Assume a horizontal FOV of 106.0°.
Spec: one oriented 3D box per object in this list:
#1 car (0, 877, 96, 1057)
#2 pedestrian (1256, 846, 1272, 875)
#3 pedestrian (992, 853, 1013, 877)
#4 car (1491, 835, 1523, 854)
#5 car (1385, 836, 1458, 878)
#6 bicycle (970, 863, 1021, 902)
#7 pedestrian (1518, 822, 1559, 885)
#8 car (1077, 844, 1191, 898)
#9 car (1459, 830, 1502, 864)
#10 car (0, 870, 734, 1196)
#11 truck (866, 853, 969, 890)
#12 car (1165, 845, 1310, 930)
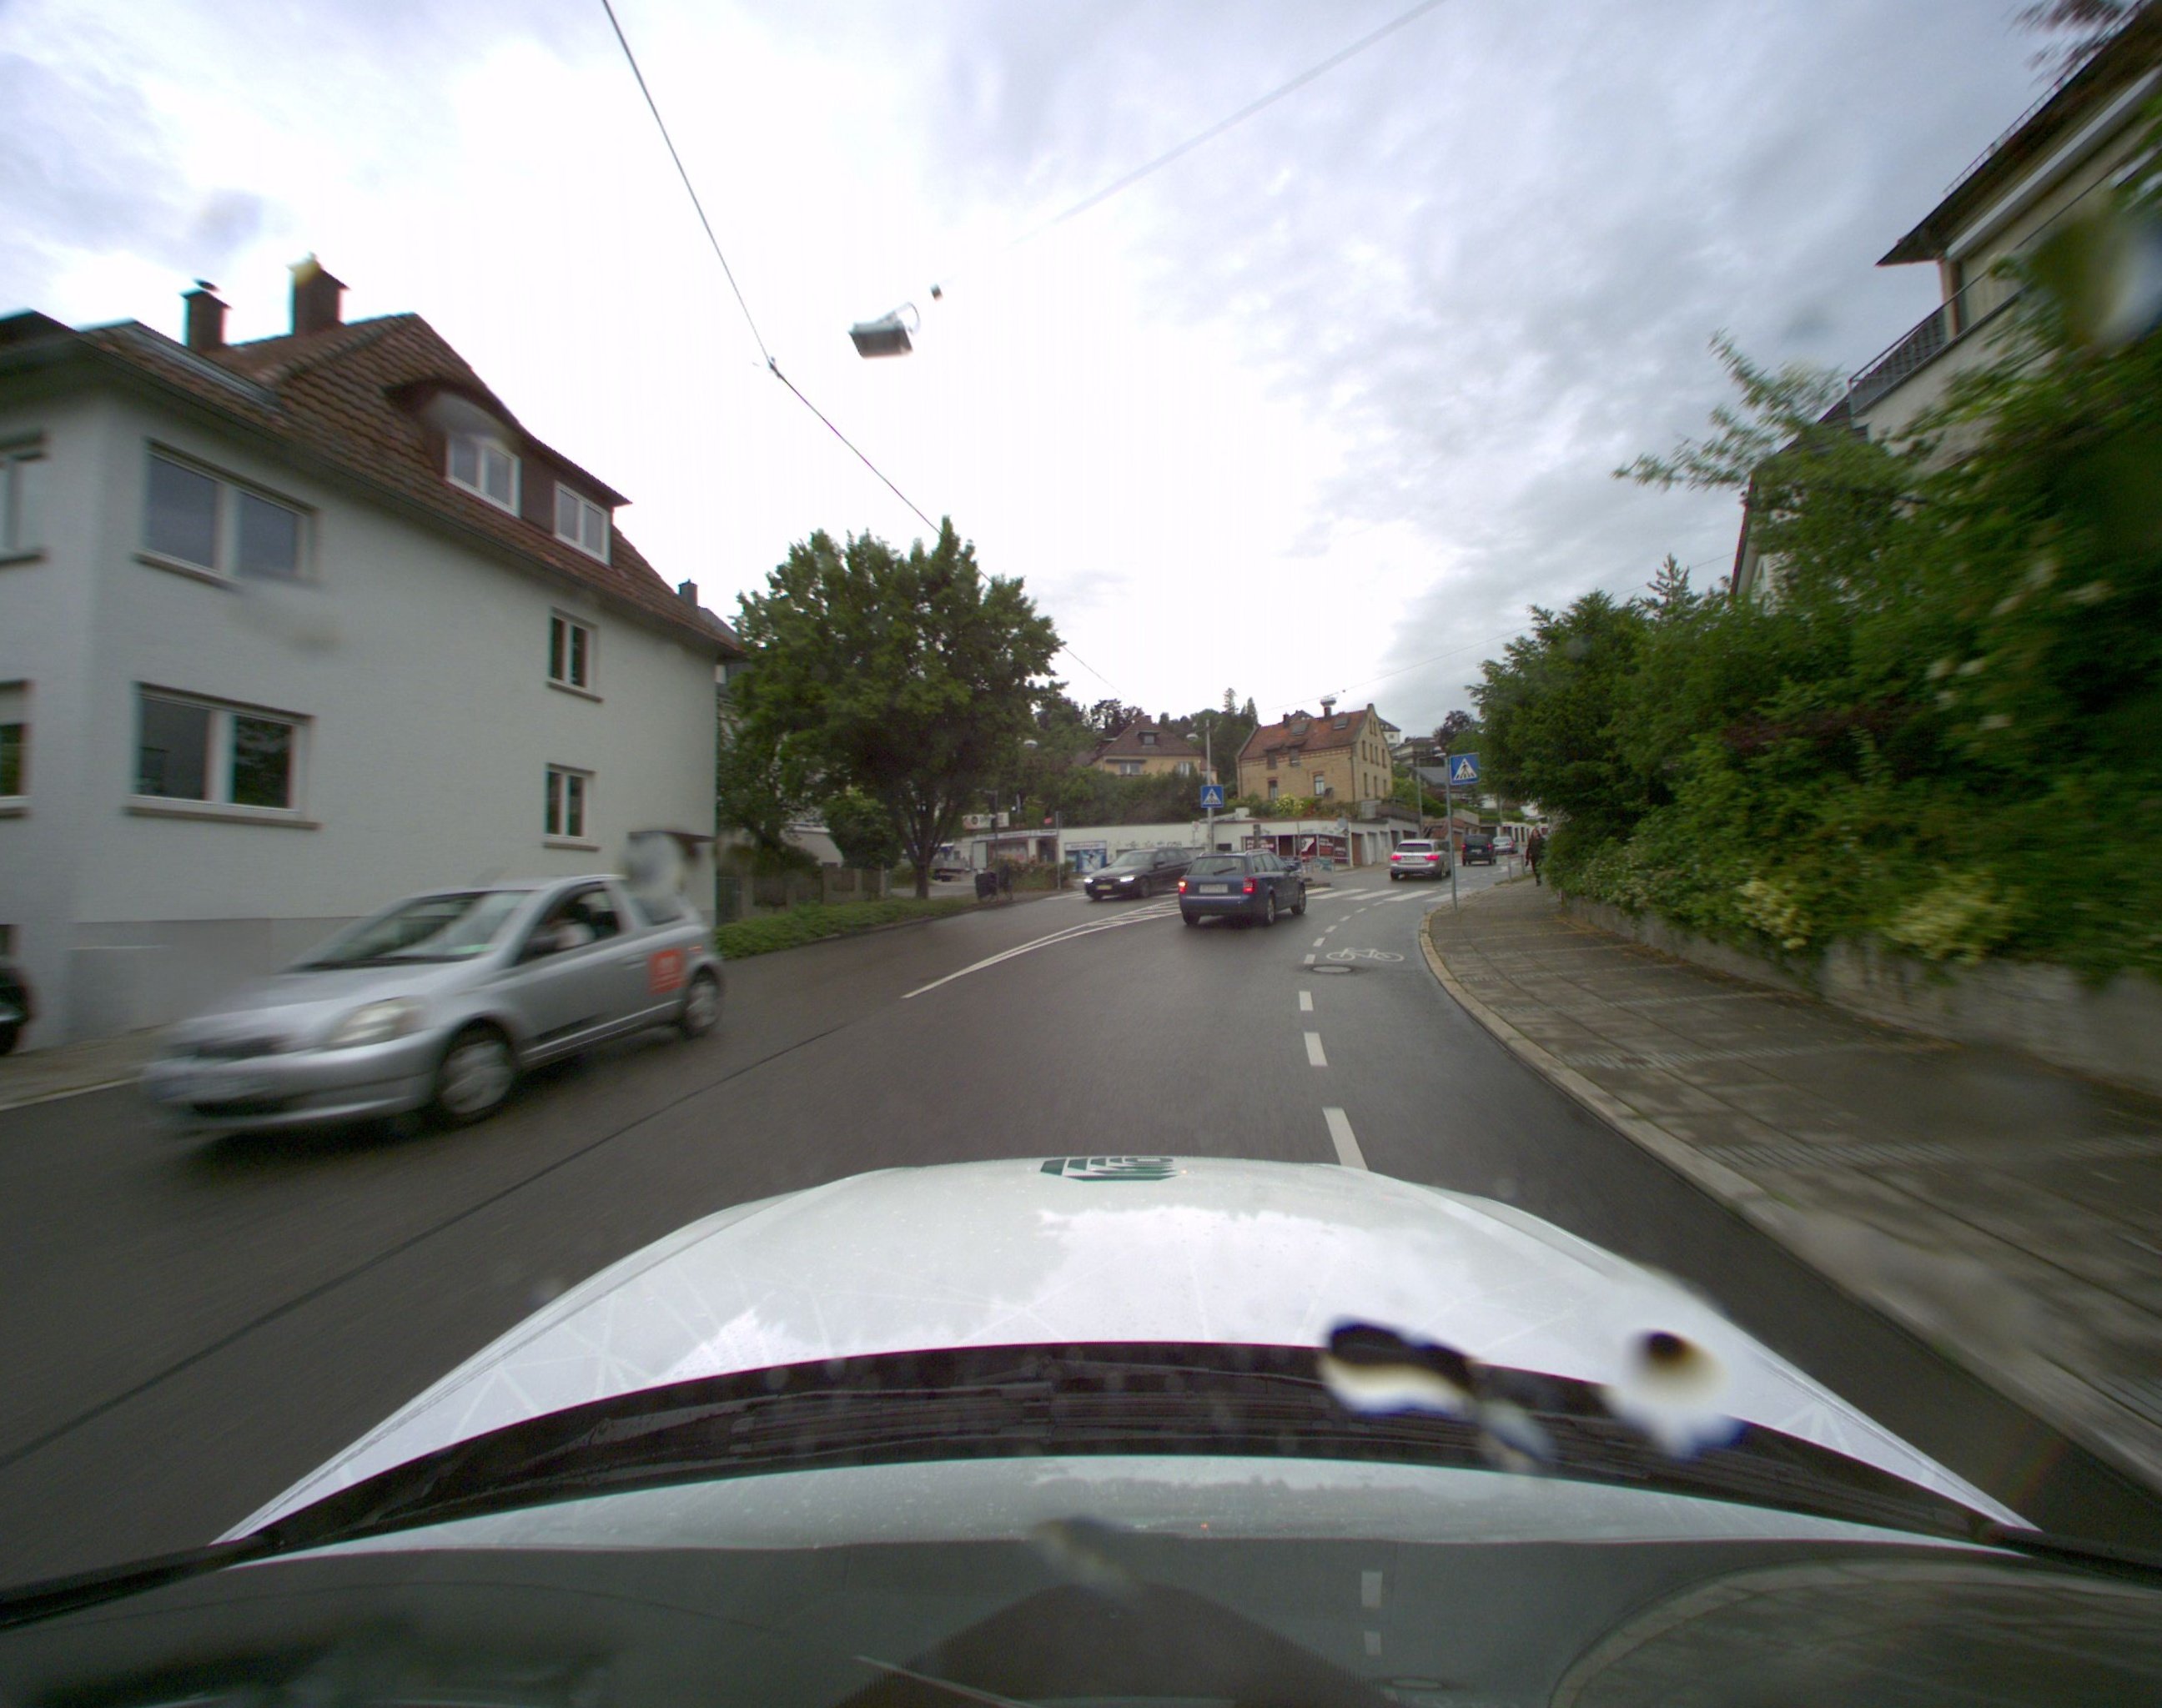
[{"bbox_3d":[-11.936,1.326,7.341,4.213,1.623,2.006,-8,-2,11],"label":"car"},{"bbox_3d":[10.980,0.370,48.829,0.584,1.689,0.622,-3,-2,-19],"label":"pedestrian"},{"bbox_3d":[-5.078,0.682,52.520,0.966,1.505,0.896,0,1,34],"label":"pedestrian"},{"bbox_3d":[34.098,-0.777,65.138,1.806,1.296,4.026,-3,0,34],"label":"car"},{"bbox_3d":[12.646,0.064,30.132,1.794,1.360,4.026,-1,2,33],"label":"car"},{"bbox_3d":[-2.716,0.891,26.163,0.416,1.085,1.976,-1,2,34],"label":"bicycle"},{"bbox_3d":[13.205,-0.017,23.498,0.795,1.722,1.067,-5,-2,35],"label":"pedestrian"},{"bbox_3d":[1.794,0.485,25.968,1.852,1.491,4.665,-3,-1,27],"label":"car"},{"bbox_3d":[23.712,-0.444,48.232,1.806,1.819,4.026,-3,0,32],"label":"car"},{"bbox_3d":[-4.287,0.910,5.823,1.479,1.423,3.864,-5,-1,7],"label":"car"},{"bbox_3d":[-10.746,1.146,53.329,6.722,2.269,2.329,-1,-2,31],"label":"truck"},{"bbox_3d":[3.338,0.589,16.739,1.794,1.439,4.106,-1,1,27],"label":"car"}]
